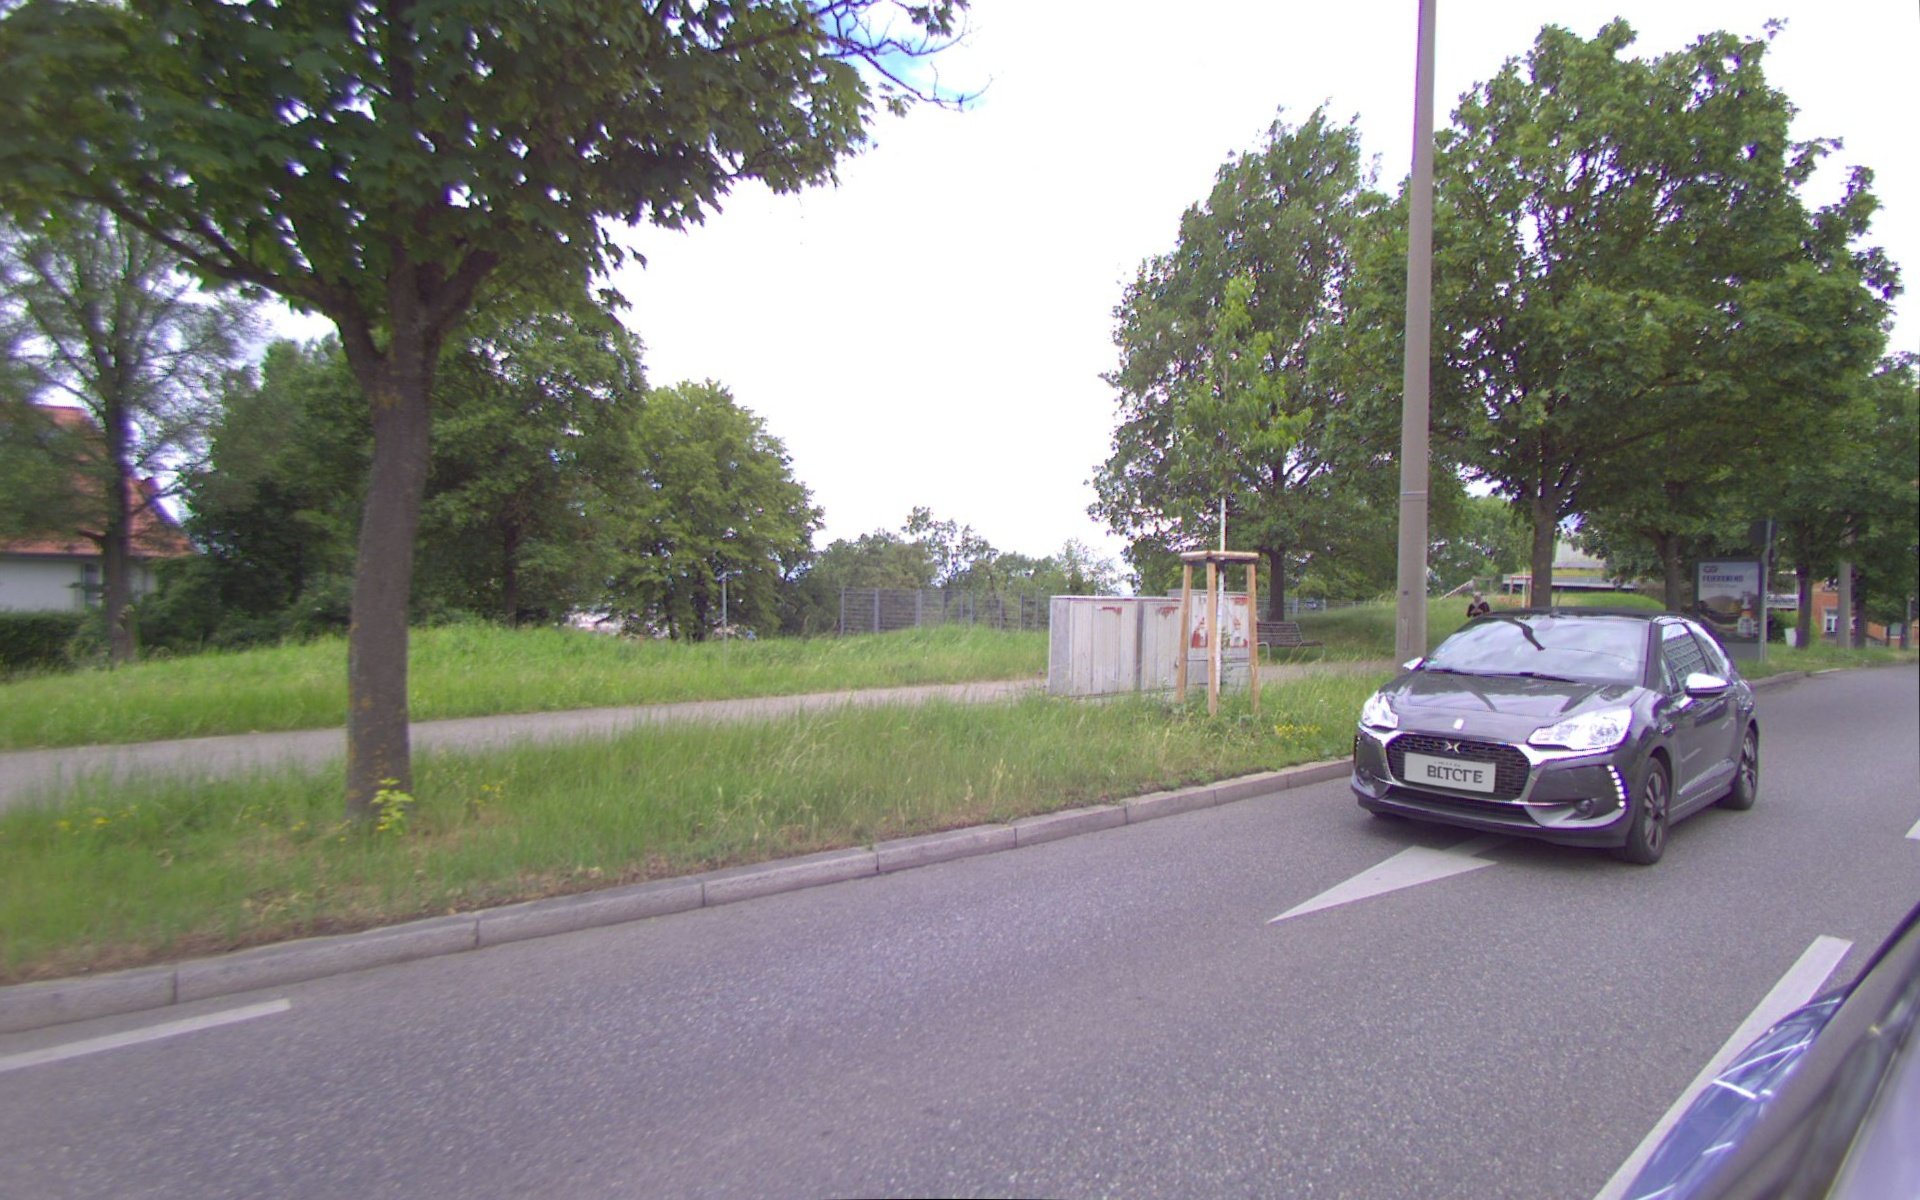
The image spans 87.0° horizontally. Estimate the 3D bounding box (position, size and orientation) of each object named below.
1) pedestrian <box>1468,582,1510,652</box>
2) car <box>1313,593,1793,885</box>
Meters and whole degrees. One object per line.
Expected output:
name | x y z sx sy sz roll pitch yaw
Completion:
pedestrian | 12.749 0.415 24.401 0.690 1.623 0.542 2 4 -43
car | 4.307 0.726 7.084 3.990 1.479 1.704 1 -1 -41
